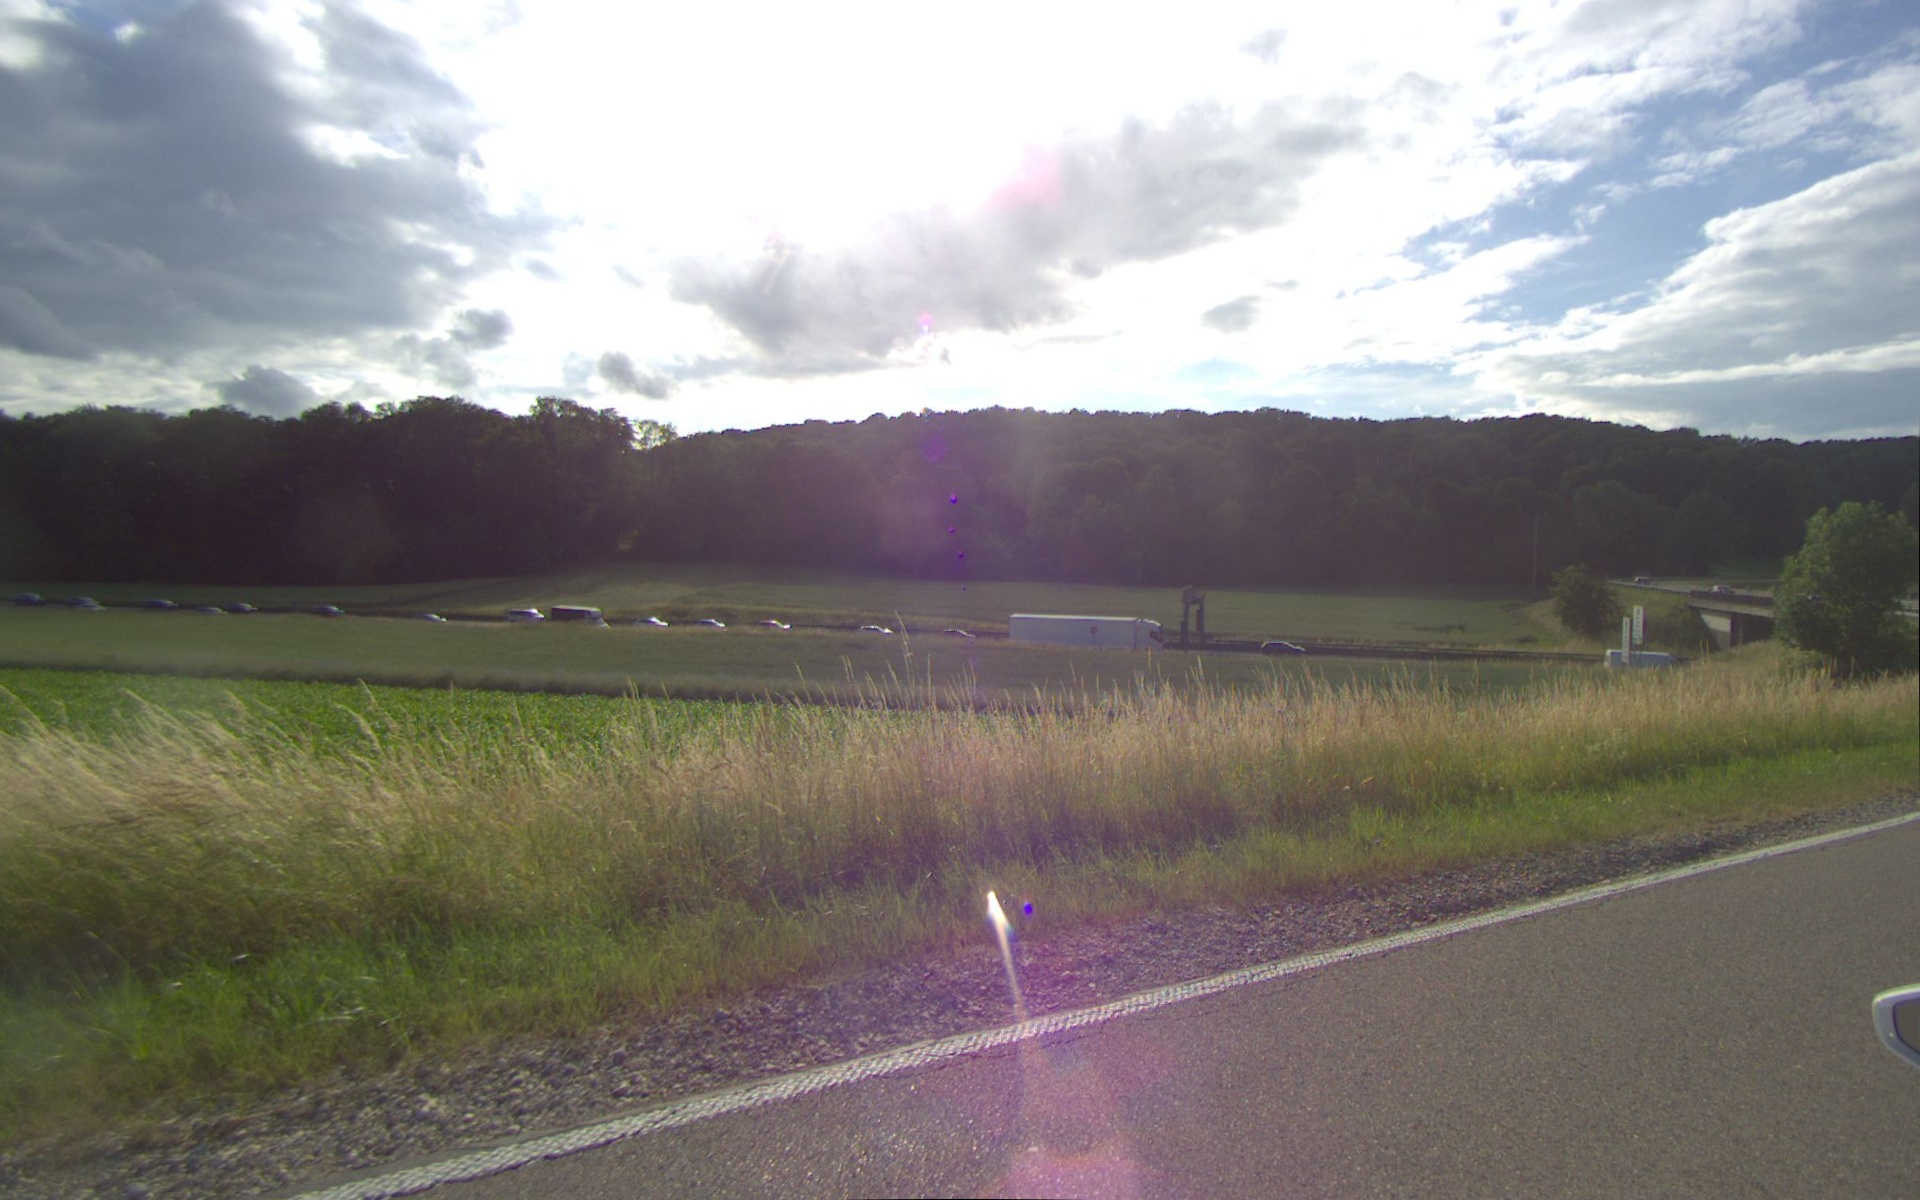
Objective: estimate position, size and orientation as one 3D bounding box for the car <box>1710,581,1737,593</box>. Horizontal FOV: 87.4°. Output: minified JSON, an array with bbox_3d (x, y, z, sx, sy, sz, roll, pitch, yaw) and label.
[{"bbox_3d":[82.249,-1.419,108.232,1.447,1.244,3.297,2,2,23],"label":"car"}]

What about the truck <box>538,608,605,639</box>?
[{"bbox_3d":[-48.534,2.948,125.463,8.330,3.451,2.123,-2,1,21],"label":"truck"}]

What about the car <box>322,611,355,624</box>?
[{"bbox_3d":[-87.269,2.477,141.067,3.920,1.608,1.803,2,1,17],"label":"car"}]

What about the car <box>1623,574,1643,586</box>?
[{"bbox_3d":[99.086,-2.956,147.918,1.964,1.701,4.171,4,3,28],"label":"car"}]

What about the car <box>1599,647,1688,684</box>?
[{"bbox_3d":[59.691,5.695,87.872,6.008,2.621,2.370,1,7,25],"label":"car"}]

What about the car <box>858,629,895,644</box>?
[{"bbox_3d":[-9.890,4.297,118.983,3.921,1.672,1.828,-1,1,19],"label":"car"}]

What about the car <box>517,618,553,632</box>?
[{"bbox_3d":[-56.480,3.335,133.414,3.920,1.750,2.001,1,-2,17],"label":"car"}]

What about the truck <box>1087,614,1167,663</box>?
[{"bbox_3d":[17.349,3.924,104.217,7.895,4.530,3.029,0,5,18],"label":"truck"}]

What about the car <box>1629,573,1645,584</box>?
[{"bbox_3d":[117.356,-3.785,174.048,1.965,1.795,3.991,-3,-1,30],"label":"car"}]

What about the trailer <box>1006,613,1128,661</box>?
[{"bbox_3d":[11.291,3.878,106.192,12.473,4.530,3.031,0,5,18],"label":"trailer"}]
